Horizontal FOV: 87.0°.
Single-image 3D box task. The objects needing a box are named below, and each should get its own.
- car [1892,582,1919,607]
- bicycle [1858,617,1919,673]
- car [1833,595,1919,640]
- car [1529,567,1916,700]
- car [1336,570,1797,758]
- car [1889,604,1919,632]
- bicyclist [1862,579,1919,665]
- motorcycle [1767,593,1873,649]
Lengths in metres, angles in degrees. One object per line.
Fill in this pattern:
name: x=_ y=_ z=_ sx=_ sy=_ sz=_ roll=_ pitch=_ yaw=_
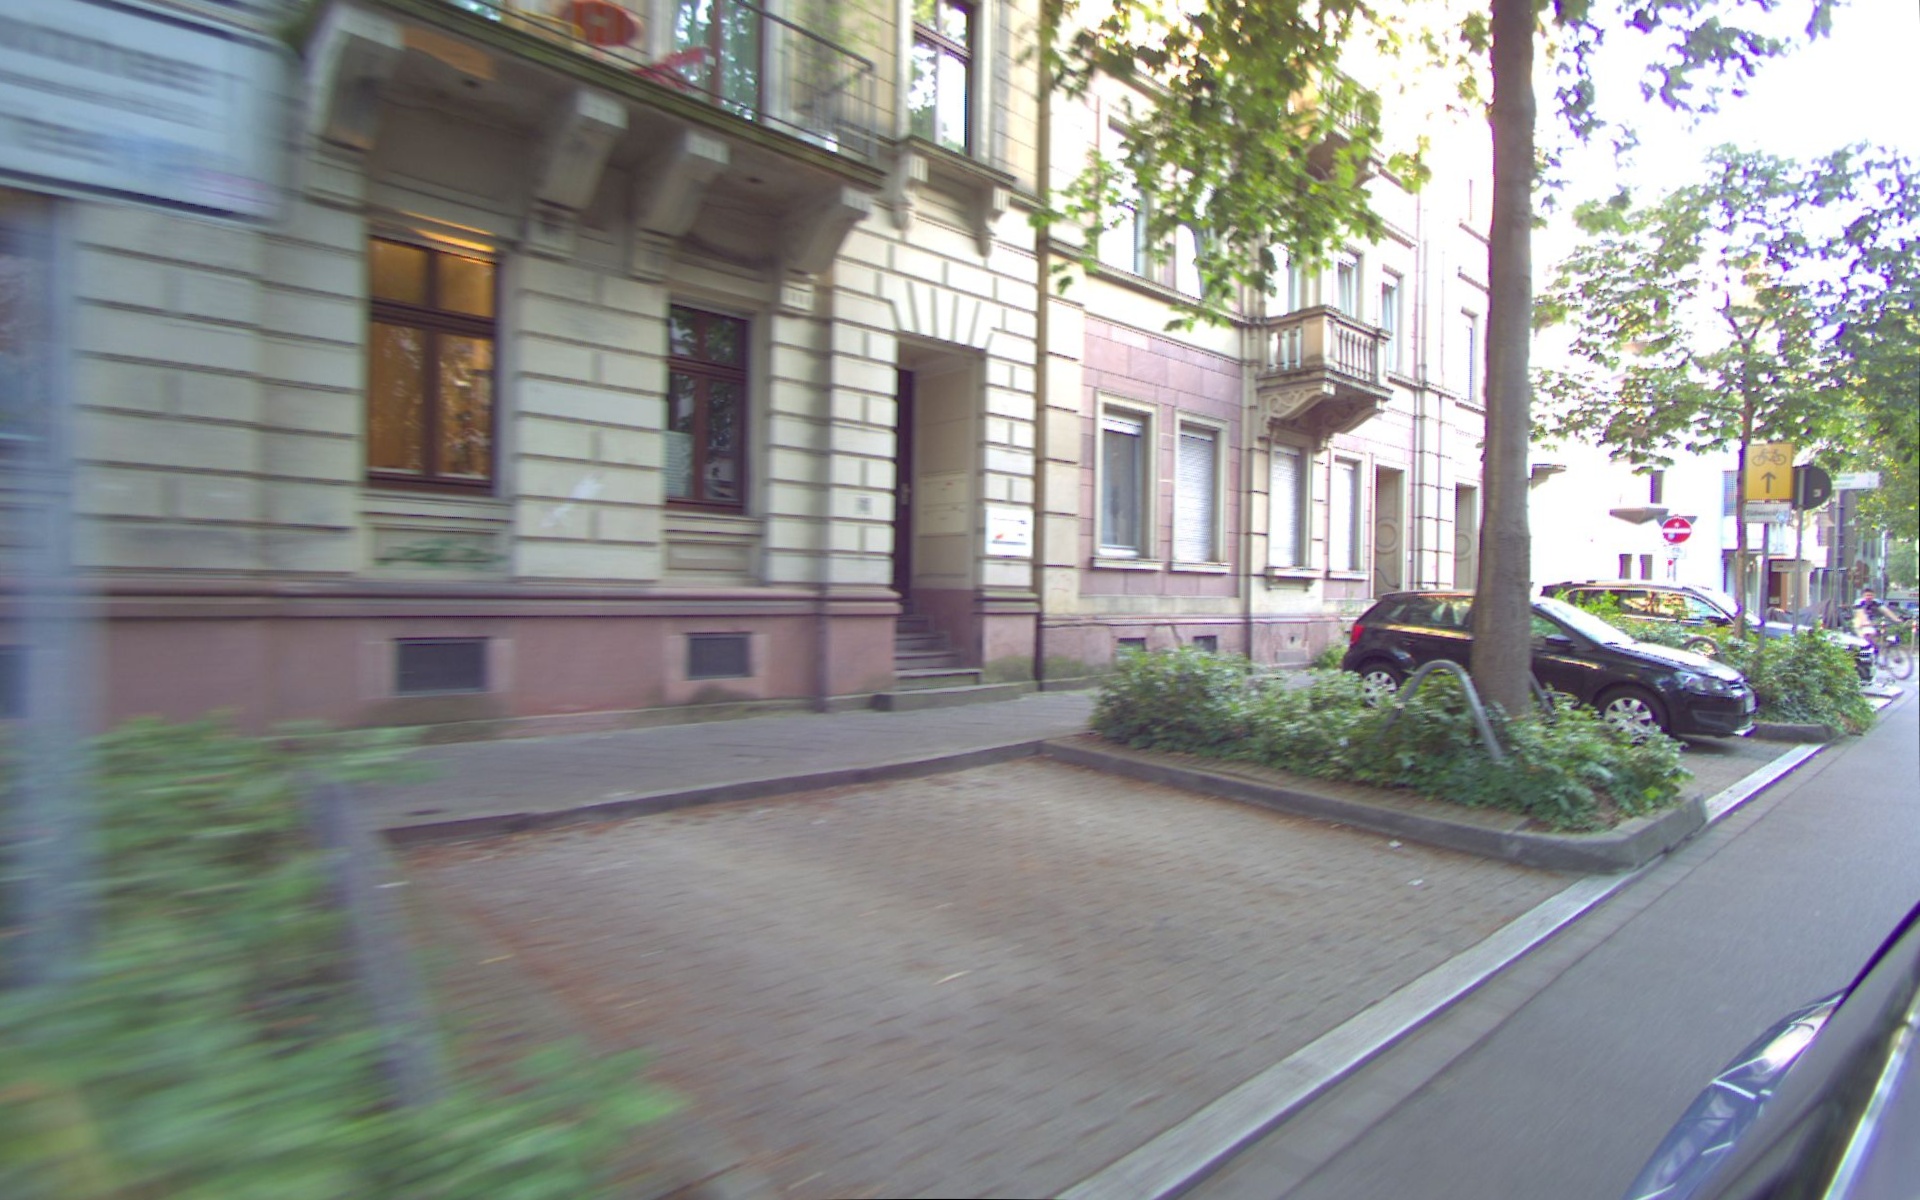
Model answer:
car: x=57.230 y=-0.347 z=59.442 sx=1.563 sy=1.438 sz=3.547 roll=1 pitch=-2 yaw=-42
bicycle: x=18.272 y=0.860 z=19.810 sx=0.773 sy=0.985 sz=1.999 roll=1 pitch=0 yaw=34
car: x=36.684 y=0.677 z=39.209 sx=1.563 sy=1.697 sz=4.160 roll=1 pitch=-2 yaw=-42
car: x=11.715 y=0.404 z=15.872 sx=1.830 sy=1.580 sz=4.429 roll=2 pitch=3 yaw=-35
car: x=6.346 y=0.530 z=10.896 sx=1.751 sy=1.445 sz=3.871 roll=1 pitch=4 yaw=-43
car: x=51.634 y=0.944 z=53.502 sx=1.563 sy=1.438 sz=3.547 roll=1 pitch=-2 yaw=-42
bicyclist: x=18.273 y=0.415 z=19.825 sx=0.749 sy=1.642 sz=1.133 roll=0 pitch=0 yaw=34
motorcycle: x=24.888 y=0.586 z=29.356 sx=2.230 sy=1.565 sz=0.764 roll=0 pitch=0 yaw=33
